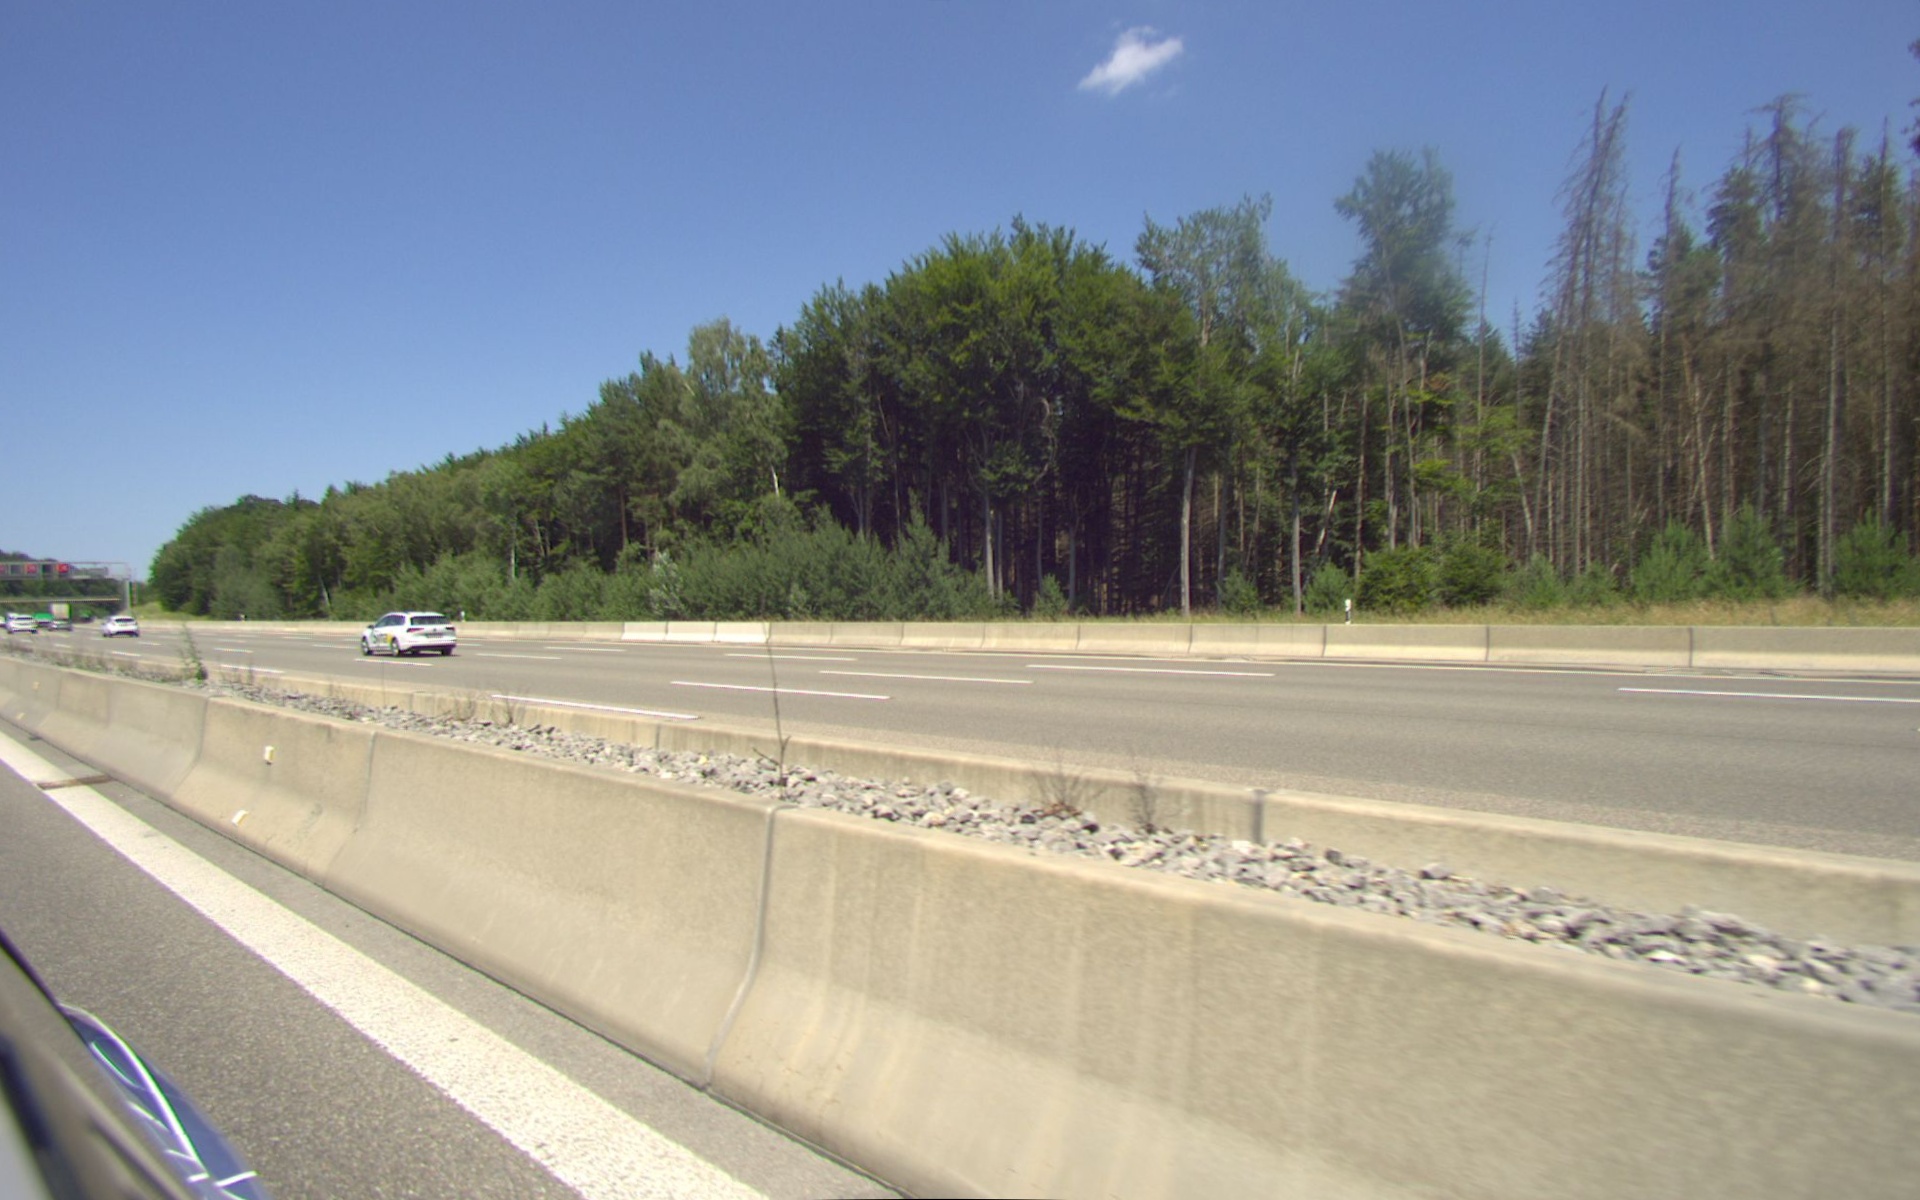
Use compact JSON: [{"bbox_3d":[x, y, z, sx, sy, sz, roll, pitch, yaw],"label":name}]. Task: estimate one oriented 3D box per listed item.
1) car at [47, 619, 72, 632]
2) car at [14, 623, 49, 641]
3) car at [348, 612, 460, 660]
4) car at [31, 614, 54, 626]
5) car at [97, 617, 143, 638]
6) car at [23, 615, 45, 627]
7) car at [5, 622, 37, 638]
[{"bbox_3d":[-93.538,2.636,105.127,2.907,1.364,1.628,-1,0,41],"label":"car"},{"bbox_3d":[-75.014,2.549,81.752,3.999,1.364,1.741,-1,0,42],"label":"car"},{"bbox_3d":[-18.667,1.164,33.909,4.780,1.475,1.712,-1,-1,41],"label":"car"},{"bbox_3d":[-108.755,2.331,119.902,3.999,1.364,1.628,-1,0,42],"label":"car"},{"bbox_3d":[-59.203,1.934,71.298,3.867,1.410,1.972,-1,0,42],"label":"car"},{"bbox_3d":[-113.069,2.592,123.606,3.999,1.364,1.628,-1,-1,42],"label":"car"},{"bbox_3d":[-83.268,2.656,89.692,3.999,1.364,1.741,-1,0,42],"label":"car"}]
